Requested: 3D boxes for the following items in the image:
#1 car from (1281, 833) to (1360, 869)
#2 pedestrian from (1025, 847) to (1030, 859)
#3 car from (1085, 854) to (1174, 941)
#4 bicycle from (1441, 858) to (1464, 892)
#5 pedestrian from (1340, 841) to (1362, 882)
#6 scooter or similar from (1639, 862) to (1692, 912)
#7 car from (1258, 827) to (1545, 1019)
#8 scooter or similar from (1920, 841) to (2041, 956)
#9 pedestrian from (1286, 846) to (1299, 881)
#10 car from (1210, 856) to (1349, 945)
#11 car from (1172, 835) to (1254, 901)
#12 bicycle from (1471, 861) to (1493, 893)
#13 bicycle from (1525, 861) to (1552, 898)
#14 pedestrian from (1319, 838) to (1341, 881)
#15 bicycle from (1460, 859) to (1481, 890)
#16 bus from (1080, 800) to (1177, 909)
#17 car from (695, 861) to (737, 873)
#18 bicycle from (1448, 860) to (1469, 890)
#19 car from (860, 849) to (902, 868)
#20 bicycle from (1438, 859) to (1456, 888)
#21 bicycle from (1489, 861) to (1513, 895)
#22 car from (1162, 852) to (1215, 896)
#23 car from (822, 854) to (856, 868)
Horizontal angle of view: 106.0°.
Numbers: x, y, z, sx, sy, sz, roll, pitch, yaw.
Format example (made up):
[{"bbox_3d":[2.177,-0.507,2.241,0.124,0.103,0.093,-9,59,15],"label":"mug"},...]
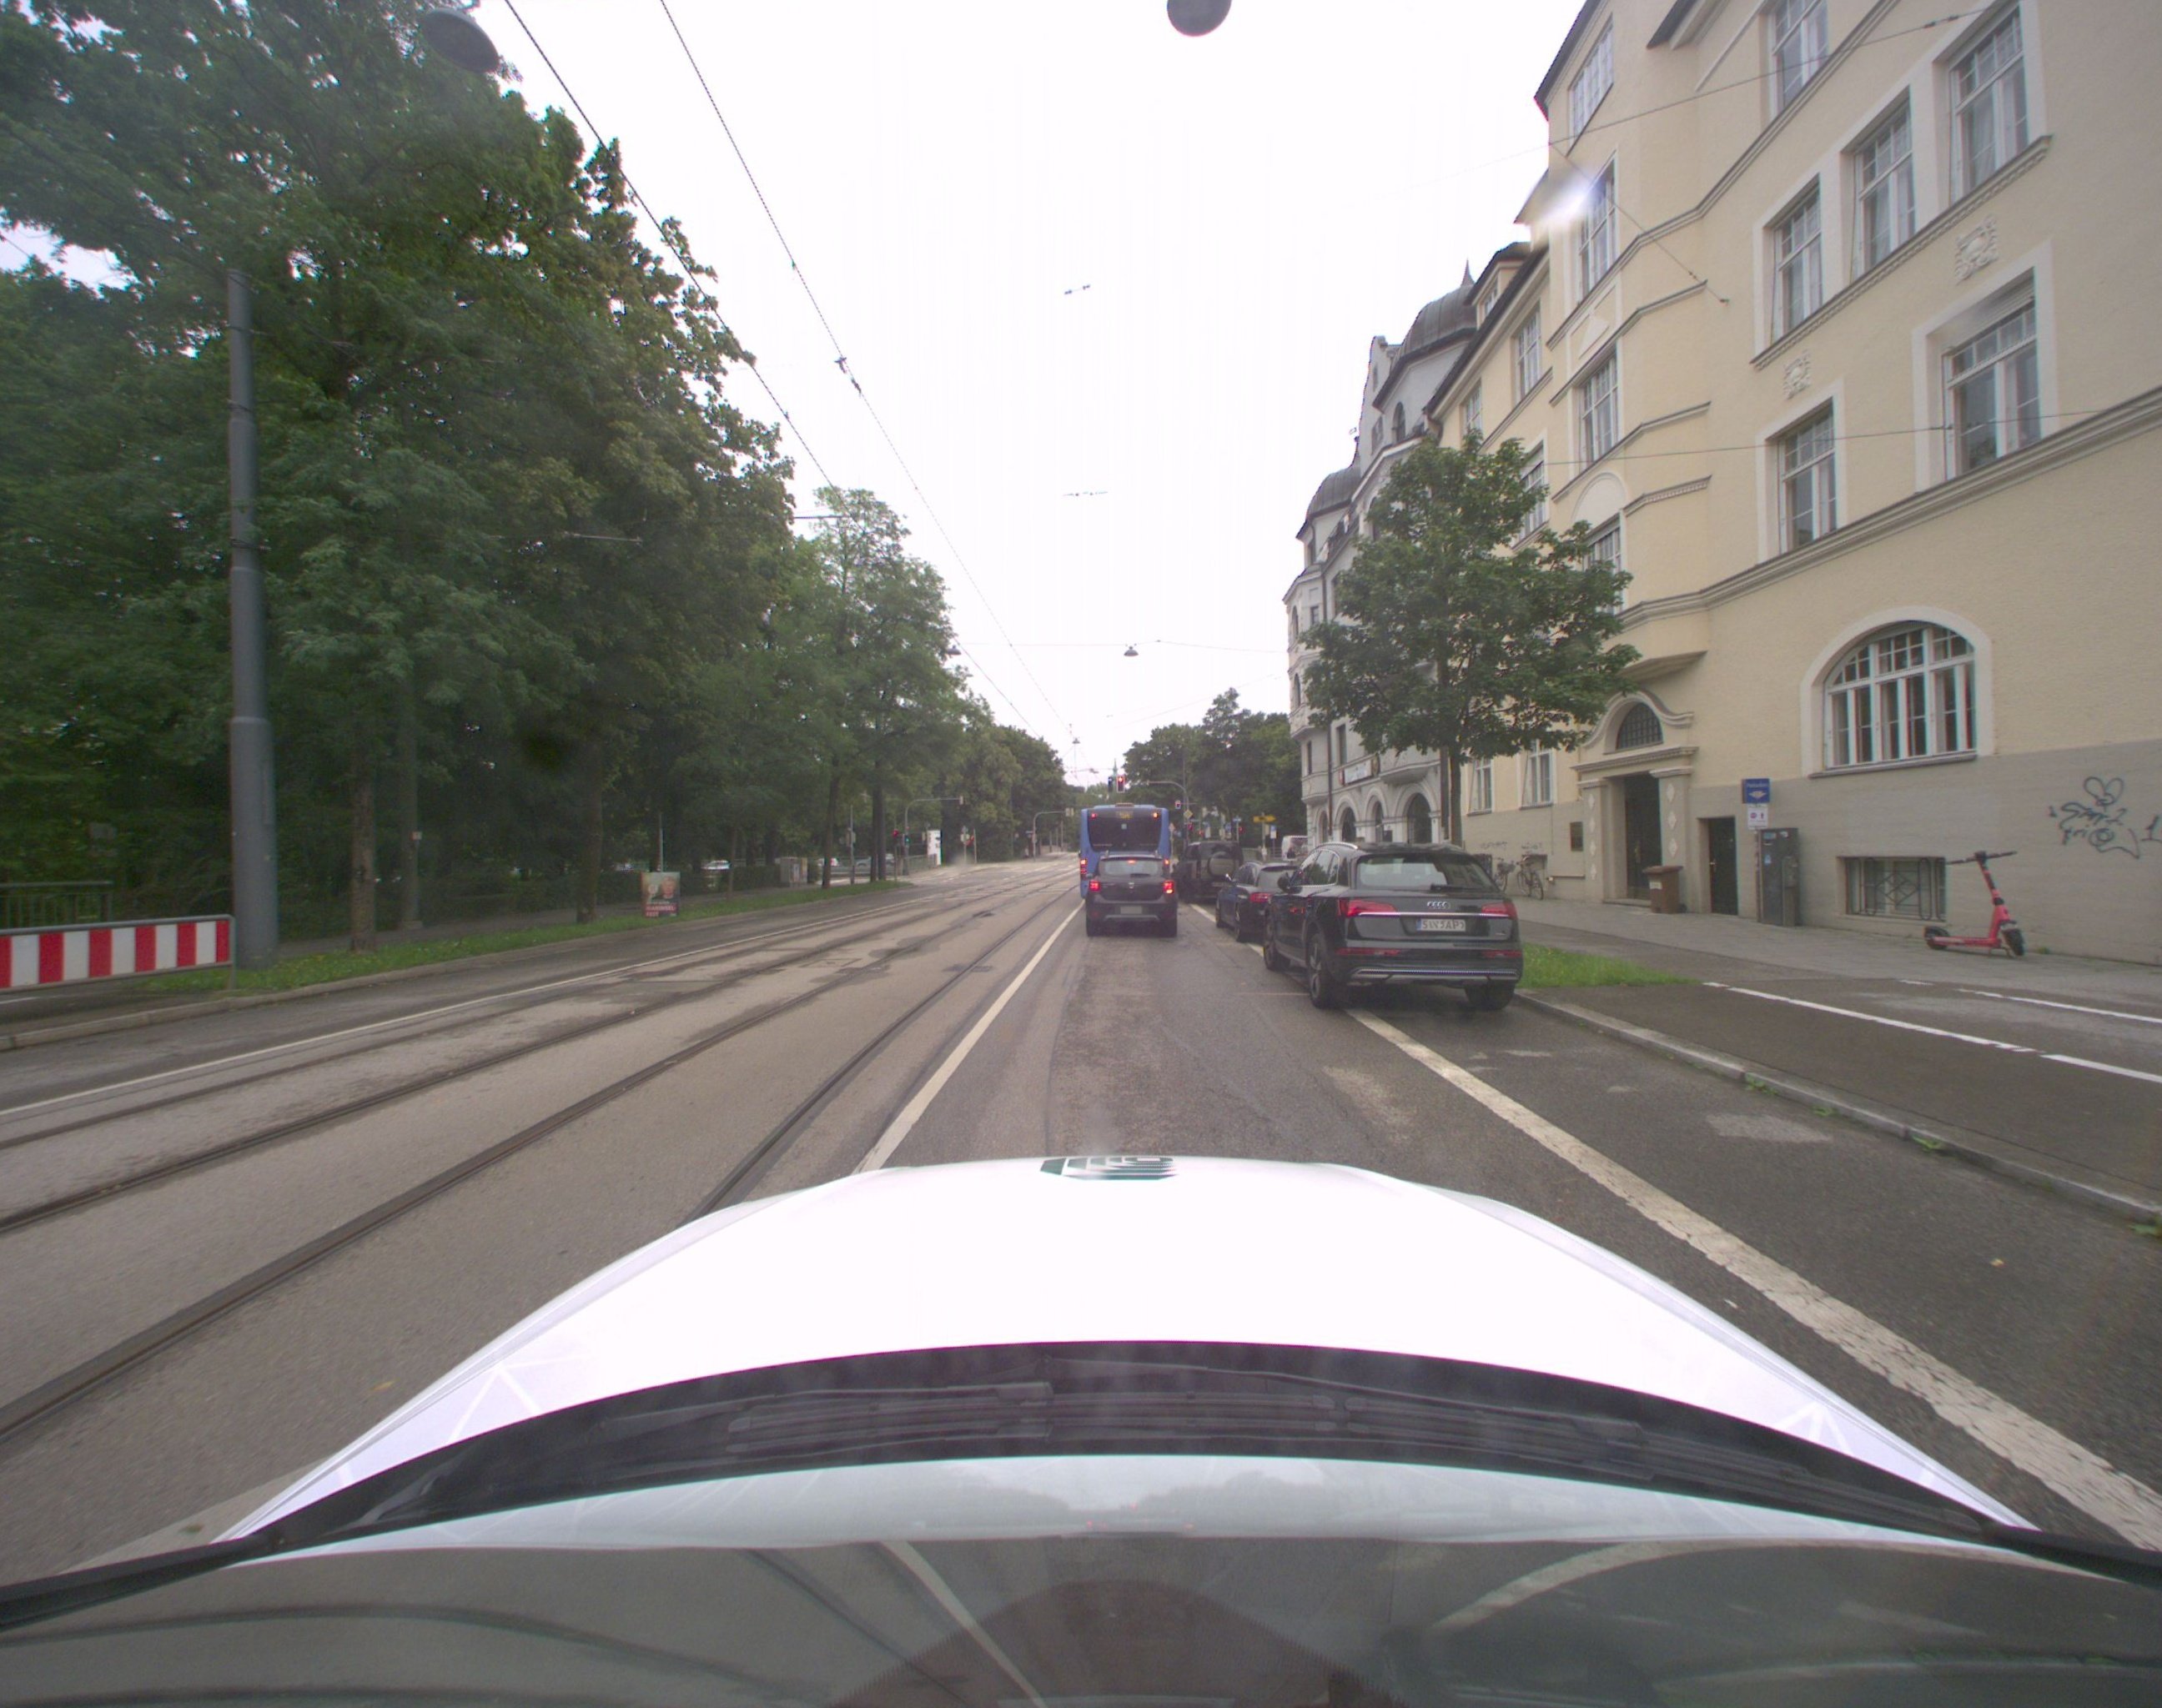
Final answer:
[{"bbox_3d":[17.763,-0.245,60.555,5.279,2.612,2.230,0,0,-1],"label":"car"},{"bbox_3d":[-6.630,-0.138,100.993,0.529,1.501,0.589,0,-1,7],"label":"pedestrian"},{"bbox_3d":[0.951,0.783,16.411,1.594,1.556,3.527,0,0,2],"label":"car"},{"bbox_3d":[11.577,0.644,25.393,0.241,1.039,1.224,0,0,3],"label":"bicycle"},{"bbox_3d":[11.535,0.311,34.848,0.702,1.732,0.843,0,-1,3],"label":"pedestrian"},{"bbox_3d":[11.471,0.641,15.991,0.658,0.946,0.547,0,0,4],"label":"scooter or similar"},{"bbox_3d":[3.269,0.607,9.338,1.767,1.658,4.492,0,0,3],"label":"car"},{"bbox_3d":[10.882,0.510,9.889,0.260,1.312,1.143,0,0,3],"label":"scooter or similar"},{"bbox_3d":[12.078,0.537,46.546,0.669,2.014,0.718,0,-1,8],"label":"pedestrian"},{"bbox_3d":[3.582,0.766,15.499,1.709,1.426,4.605,0,0,2],"label":"car"},{"bbox_3d":[4.105,0.421,26.095,1.907,1.906,4.808,0,0,1],"label":"car"},{"bbox_3d":[11.837,0.660,24.039,0.271,0.930,0.887,0,0,4],"label":"bicycle"},{"bbox_3d":[11.661,0.642,20.776,0.220,0.930,0.886,0,0,2],"label":"bicycle"},{"bbox_3d":[10.639,0.247,34.863,0.702,1.816,0.870,0,-1,3],"label":"pedestrian"},{"bbox_3d":[11.948,0.616,25.006,0.304,0.930,0.887,0,0,5],"label":"bicycle"},{"bbox_3d":[1.385,0.025,25.949,2.669,2.997,6.962,0,0,1],"label":"bus"},{"bbox_3d":[-37.379,1.329,83.446,3.719,1.185,1.249,0,0,-3],"label":"car"},{"bbox_3d":[12.030,0.651,25.965,0.289,0.930,0.887,0,0,4],"label":"bicycle"},{"bbox_3d":[-20.660,0.482,84.085,4.014,1.887,1.488,0,0,-4],"label":"car"},{"bbox_3d":[12.078,0.641,26.901,0.258,0.930,0.887,0,0,4],"label":"bicycle"},{"bbox_3d":[11.710,0.654,22.705,0.284,0.930,0.887,0,0,4],"label":"bicycle"},{"bbox_3d":[4.124,0.728,31.684,1.707,1.591,4.330,0,0,3],"label":"car"},{"bbox_3d":[-24.874,0.719,83.861,3.102,1.452,1.249,0,0,-3],"label":"car"}]
